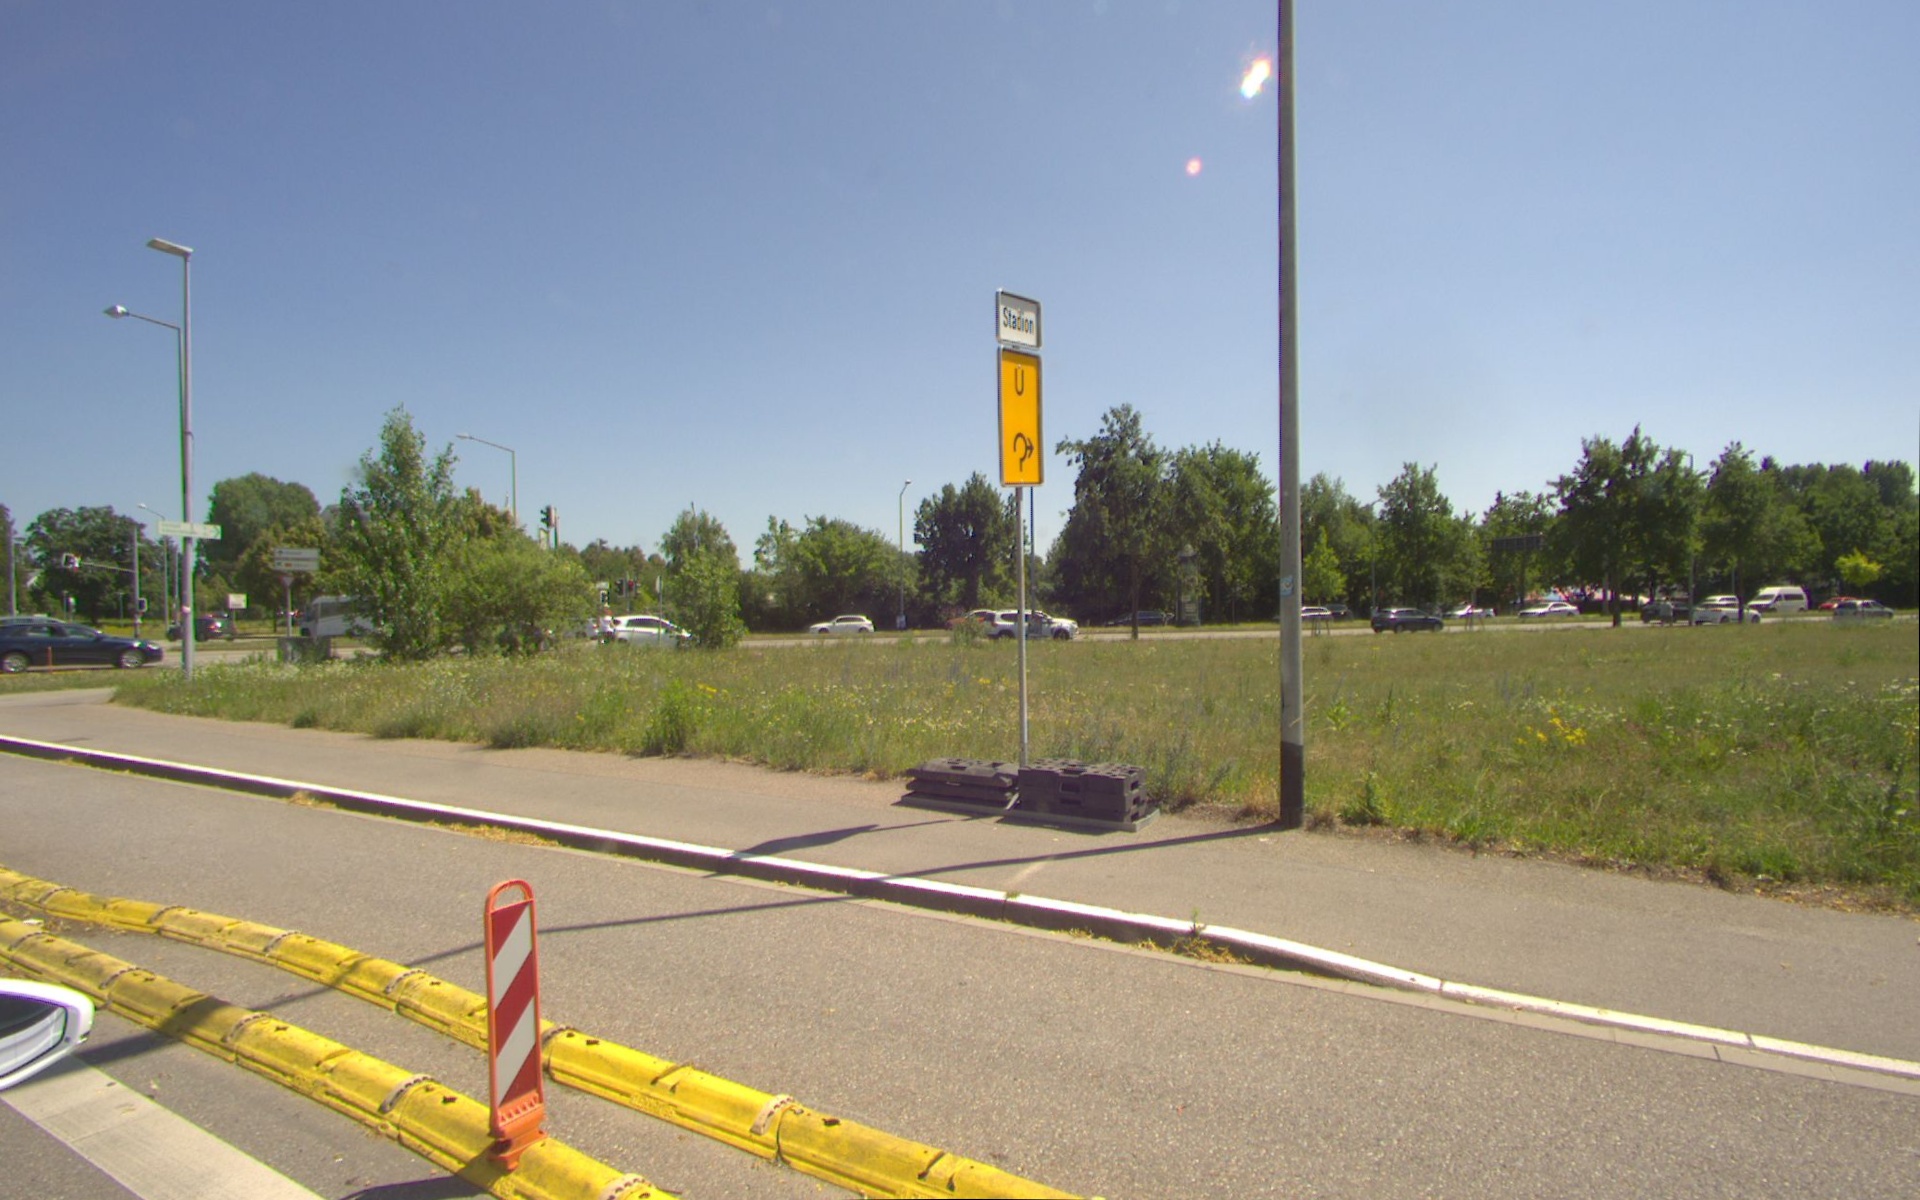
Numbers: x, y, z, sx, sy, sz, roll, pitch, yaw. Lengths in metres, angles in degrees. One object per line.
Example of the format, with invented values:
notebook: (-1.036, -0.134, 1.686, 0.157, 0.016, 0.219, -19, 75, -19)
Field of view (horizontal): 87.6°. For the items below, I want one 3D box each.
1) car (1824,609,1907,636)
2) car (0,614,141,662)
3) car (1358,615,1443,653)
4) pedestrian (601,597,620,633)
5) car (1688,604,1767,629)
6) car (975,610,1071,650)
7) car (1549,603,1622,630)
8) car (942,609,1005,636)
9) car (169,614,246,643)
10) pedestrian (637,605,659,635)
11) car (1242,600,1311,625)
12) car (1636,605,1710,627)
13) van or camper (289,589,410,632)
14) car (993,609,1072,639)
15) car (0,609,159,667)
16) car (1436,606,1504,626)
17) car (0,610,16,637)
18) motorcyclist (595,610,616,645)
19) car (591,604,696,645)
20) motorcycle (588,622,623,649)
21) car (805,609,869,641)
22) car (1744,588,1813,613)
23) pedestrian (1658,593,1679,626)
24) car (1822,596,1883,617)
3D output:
car: (58.784, 1.462, 64.996, 4.855, 1.727, 1.995, 0, -1, -20)
car: (-30.023, 1.238, 33.377, 1.779, 1.515, 3.972, -1, -1, 38)
car: (24.598, 1.890, 55.988, 3.927, 2.040, 1.998, 0, -1, -14)
pedestrian: (-18.448, 0.789, 52.890, 0.726, 1.894, 0.648, -1, -1, 34)
car: (46.565, 1.001, 60.775, 3.946, 1.463, 1.632, 0, -1, -11)
car: (3.027, 1.435, 48.247, 4.189, 1.839, 1.996, 0, -1, -18)
car: (49.081, 1.280, 78.581, 4.993, 2.040, 1.997, 0, -1, -15)
car: (0.875, 1.451, 64.606, 3.690, 1.739, 1.998, 0, -1, -13)
car: (-44.010, 1.666, 58.606, 3.166, 1.627, 1.651, 0, -1, -6)
pedestrian: (-16.621, 1.075, 53.327, 0.811, 1.583, 0.790, -1, -1, 34)
car: (22.461, 0.911, 71.131, 4.295, 1.739, 1.999, 0, -1, -8)
car: (46.409, 1.043, 65.179, 3.931, 1.425, 1.996, 0, -1, -19)
van or camper: (-40.402, 0.711, 66.285, 7.376, 2.728, 2.510, -1, -1, 16)
car: (3.920, 1.299, 54.278, 3.928, 1.605, 1.837, 0, -1, -15)
car: (-26.870, 1.126, 30.224, 1.717, 1.641, 3.981, -1, -1, 41)
car: (40.598, 1.271, 79.714, 4.696, 1.590, 1.998, 0, -1, -15)
car: (-66.416, 1.588, 67.261, 3.923, 1.861, 2.000, 0, -1, -7)
motorcyclist: (-13.182, 1.031, 37.239, 0.570, 1.306, 0.615, 0, -1, 3)
car: (-13.154, 1.017, 41.629, 3.950, 1.641, 1.674, 0, -1, -26)
motorcycle: (-13.156, 1.321, 37.194, 0.619, 0.982, 1.709, 0, -1, 3)
car: (-8.061, 1.621, 65.487, 3.928, 2.040, 1.997, 0, -1, -15)
car: (69.175, 0.079, 84.667, 4.993, 2.040, 1.997, 0, -1, -15)
pedestrian: (33.682, 0.454, 47.619, 0.724, 1.583, 0.497, 0, 0, -18)
car: (80.867, 0.610, 90.741, 4.522, 1.874, 1.997, 0, -1, -16)
